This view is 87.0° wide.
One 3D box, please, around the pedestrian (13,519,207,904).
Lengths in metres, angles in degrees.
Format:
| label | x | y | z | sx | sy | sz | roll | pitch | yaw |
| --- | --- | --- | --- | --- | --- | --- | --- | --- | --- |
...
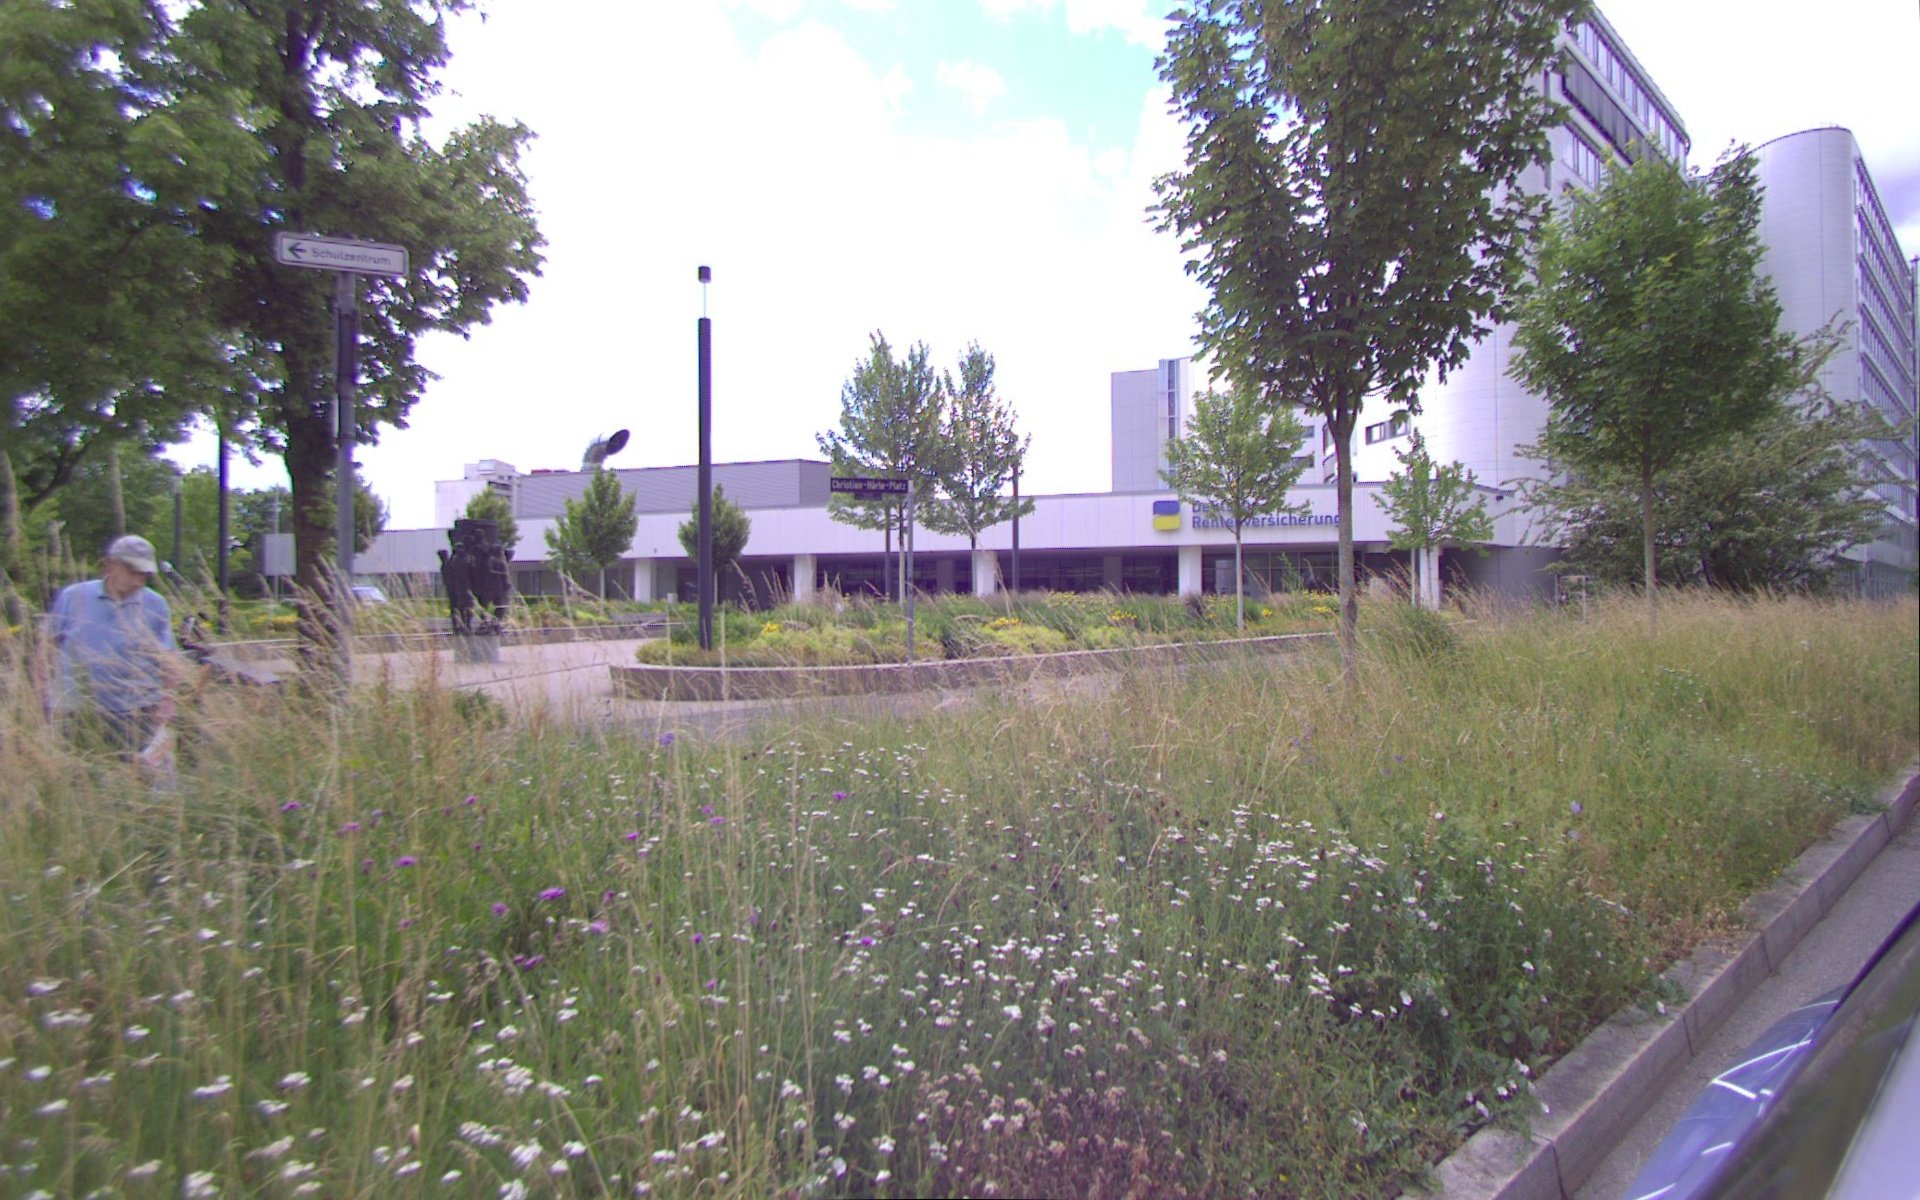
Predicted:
| label | x | y | z | sx | sy | sz | roll | pitch | yaw |
| --- | --- | --- | --- | --- | --- | --- | --- | --- | --- |
| pedestrian | -4.424 | 0.521 | 5.268 | 0.717 | 1.813 | 0.692 | 0 | 0 | -45 |

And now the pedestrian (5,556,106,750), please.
| label | x | y | z | sx | sy | sz | roll | pitch | yaw |
| --- | --- | --- | --- | --- | --- | --- | --- | --- | --- |
| pedestrian | -8.445 | 0.465 | 9.455 | 0.685 | 1.716 | 0.650 | 0 | 0 | -43 |

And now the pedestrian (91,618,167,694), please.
| label | x | y | z | sx | sy | sz | roll | pitch | yaw |
| --- | --- | --- | --- | --- | --- | --- | --- | --- | --- |
| pedestrian | -10.261 | 0.671 | 12.497 | 0.685 | 0.874 | 0.650 | 0 | 0 | -43 |

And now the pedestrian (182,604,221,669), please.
| label | x | y | z | sx | sy | sz | roll | pitch | yaw |
| --- | --- | --- | --- | --- | --- | --- | --- | --- | --- |
| pedestrian | -15.348 | 0.732 | 20.475 | 0.560 | 1.278 | 0.581 | -1 | 0 | -42 |

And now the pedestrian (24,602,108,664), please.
| label | x | y | z | sx | sy | sz | roll | pitch | yaw |
| --- | --- | --- | --- | --- | --- | --- | --- | --- | --- |
| pedestrian | -14.307 | 0.523 | 16.214 | 0.736 | 0.960 | 0.713 | 0 | 0 | -2 |

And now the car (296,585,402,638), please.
| label | x | y | z | sx | sy | sz | roll | pitch | yaw |
| --- | --- | --- | --- | --- | --- | --- | --- | --- | --- |
| car | -21.314 | 0.386 | 35.306 | 3.471 | 1.788 | 1.622 | 0 | 0 | 28 |

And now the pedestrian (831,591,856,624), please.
| label | x | y | z | sx | sy | sz | roll | pitch | yaw |
| --- | --- | --- | --- | --- | --- | --- | --- | --- | --- |
| pedestrian | -4.550 | 0.292 | 39.424 | 0.869 | 1.290 | 0.704 | 0 | 0 | 3 |
